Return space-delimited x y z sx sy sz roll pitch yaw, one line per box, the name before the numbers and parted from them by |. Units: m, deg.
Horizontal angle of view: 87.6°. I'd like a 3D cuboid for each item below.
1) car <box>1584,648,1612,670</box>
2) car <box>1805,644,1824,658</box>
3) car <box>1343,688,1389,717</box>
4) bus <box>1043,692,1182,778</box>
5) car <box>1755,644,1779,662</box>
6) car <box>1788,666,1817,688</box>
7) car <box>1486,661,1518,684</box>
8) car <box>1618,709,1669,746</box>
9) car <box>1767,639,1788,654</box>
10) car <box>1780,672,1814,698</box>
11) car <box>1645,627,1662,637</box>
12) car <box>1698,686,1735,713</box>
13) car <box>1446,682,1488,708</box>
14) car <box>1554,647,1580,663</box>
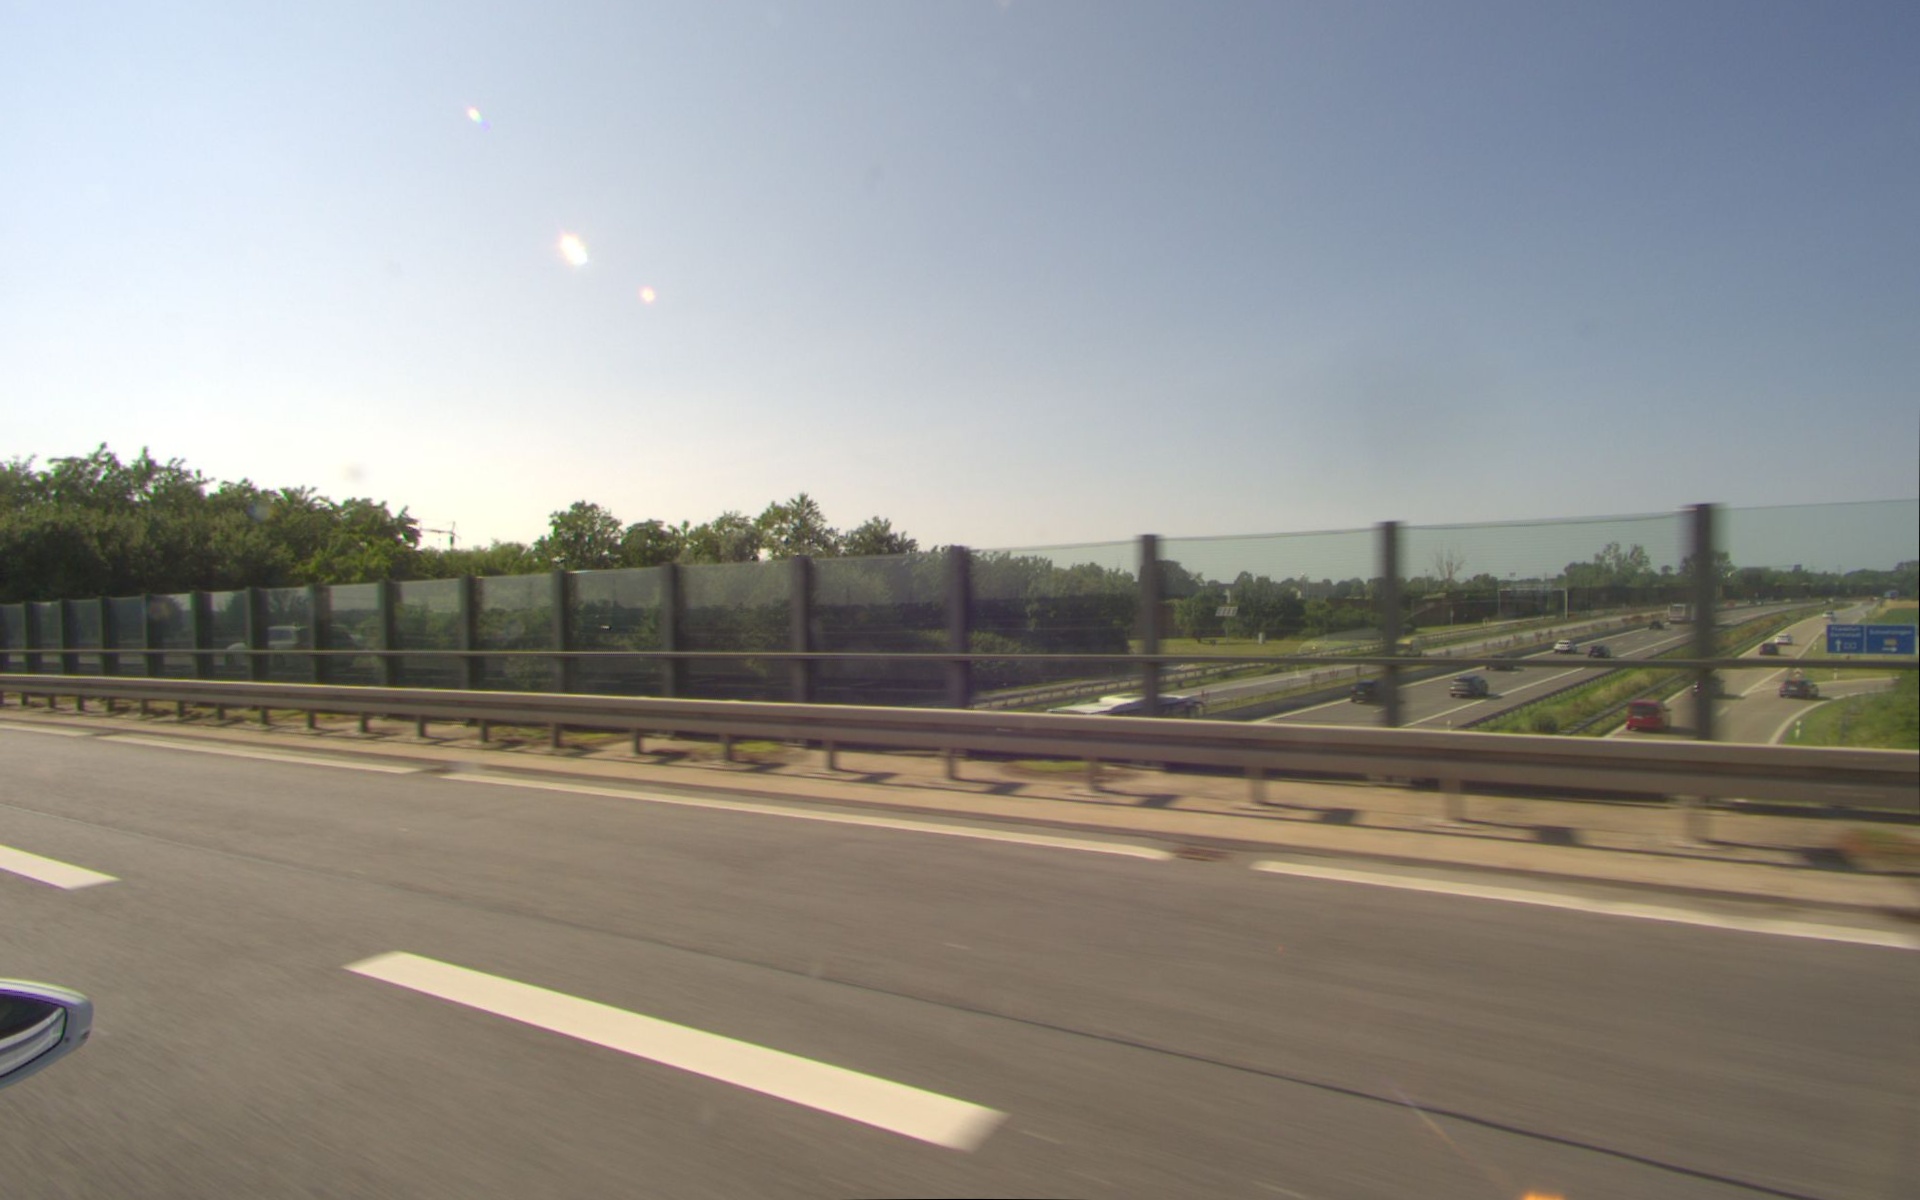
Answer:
car | 72.635 6.715 114.002 1.859 2.388 4.678 -1 -2 42
car | 110.497 6.571 129.465 1.831 1.705 3.967 -1 -2 42
car | 29.611 7.462 73.001 1.860 1.787 3.965 -1 -2 43
bus | 7.441 6.269 47.798 2.521 3.204 8.322 -1 -2 41
car | 96.728 6.322 119.981 1.978 2.039 3.967 -1 -2 42
car | 75.173 6.861 89.354 1.831 1.705 3.967 -1 -2 42
car | 53.341 7.108 98.564 1.860 2.037 3.965 -1 -2 43
car | 40.546 7.526 59.409 1.860 1.787 3.964 -1 -2 44
car | 113.913 6.489 139.512 1.978 2.039 3.967 -1 -2 42
car | 64.164 6.480 76.742 1.831 1.705 3.967 -1 -2 42
car | 120.904 5.579 174.647 1.860 1.787 3.965 -1 -2 43
car | 57.825 7.557 76.569 1.762 1.794 3.964 -1 -2 44
car | 38.845 7.251 76.615 1.867 1.672 3.965 -1 -1 43
car | 72.759 6.558 120.027 1.860 1.787 3.965 -1 -2 43
